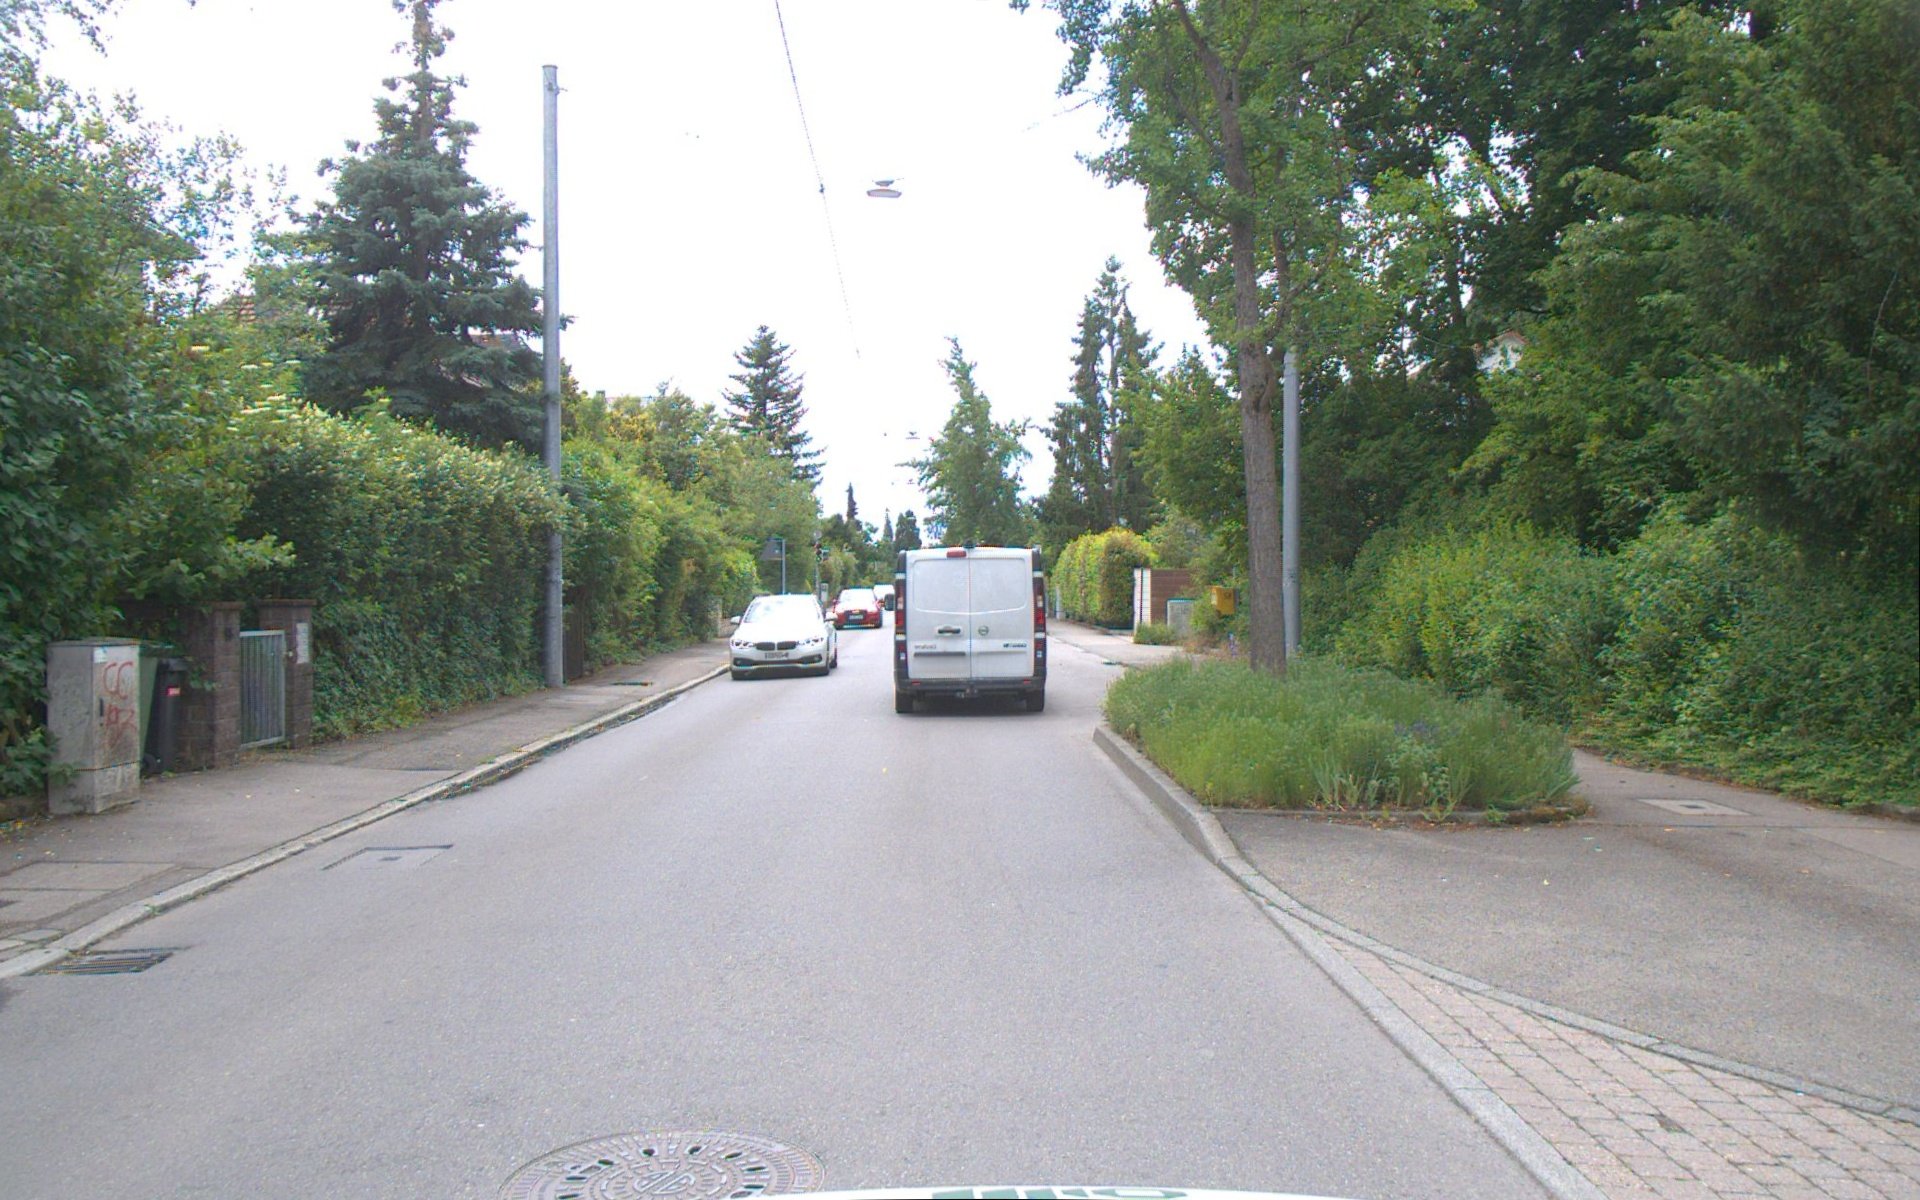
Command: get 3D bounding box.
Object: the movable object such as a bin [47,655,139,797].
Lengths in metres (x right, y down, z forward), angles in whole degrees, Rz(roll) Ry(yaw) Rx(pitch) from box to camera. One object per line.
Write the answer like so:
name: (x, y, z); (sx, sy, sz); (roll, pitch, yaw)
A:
movable object such as a bin: (-6.203, 0.892, 11.850); (0.371, 0.968, 0.512); (3, 0, -4)

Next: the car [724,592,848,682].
car: (-3.157, 0.623, 30.735); (1.768, 1.456, 4.301); (-3, 0, 0)

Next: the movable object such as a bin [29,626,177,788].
movable object such as a bin: (-6.444, 0.790, 12.474); (0.713, 1.145, 0.722); (3, 0, -4)

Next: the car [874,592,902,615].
car: (-5.027, 0.242, 115.152); (1.817, 1.476, 4.279); (-2, 1, -3)

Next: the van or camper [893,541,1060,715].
van or camper: (0.116, 0.363, 21.427); (1.900, 1.988, 4.763); (1, -1, -2)

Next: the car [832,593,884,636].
car: (-3.777, 0.530, 61.643); (1.769, 1.456, 4.116); (-3, 0, -3)

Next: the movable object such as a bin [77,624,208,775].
movable object such as a bin: (-6.521, 0.783, 13.220); (0.713, 1.136, 0.585); (3, 0, -5)
